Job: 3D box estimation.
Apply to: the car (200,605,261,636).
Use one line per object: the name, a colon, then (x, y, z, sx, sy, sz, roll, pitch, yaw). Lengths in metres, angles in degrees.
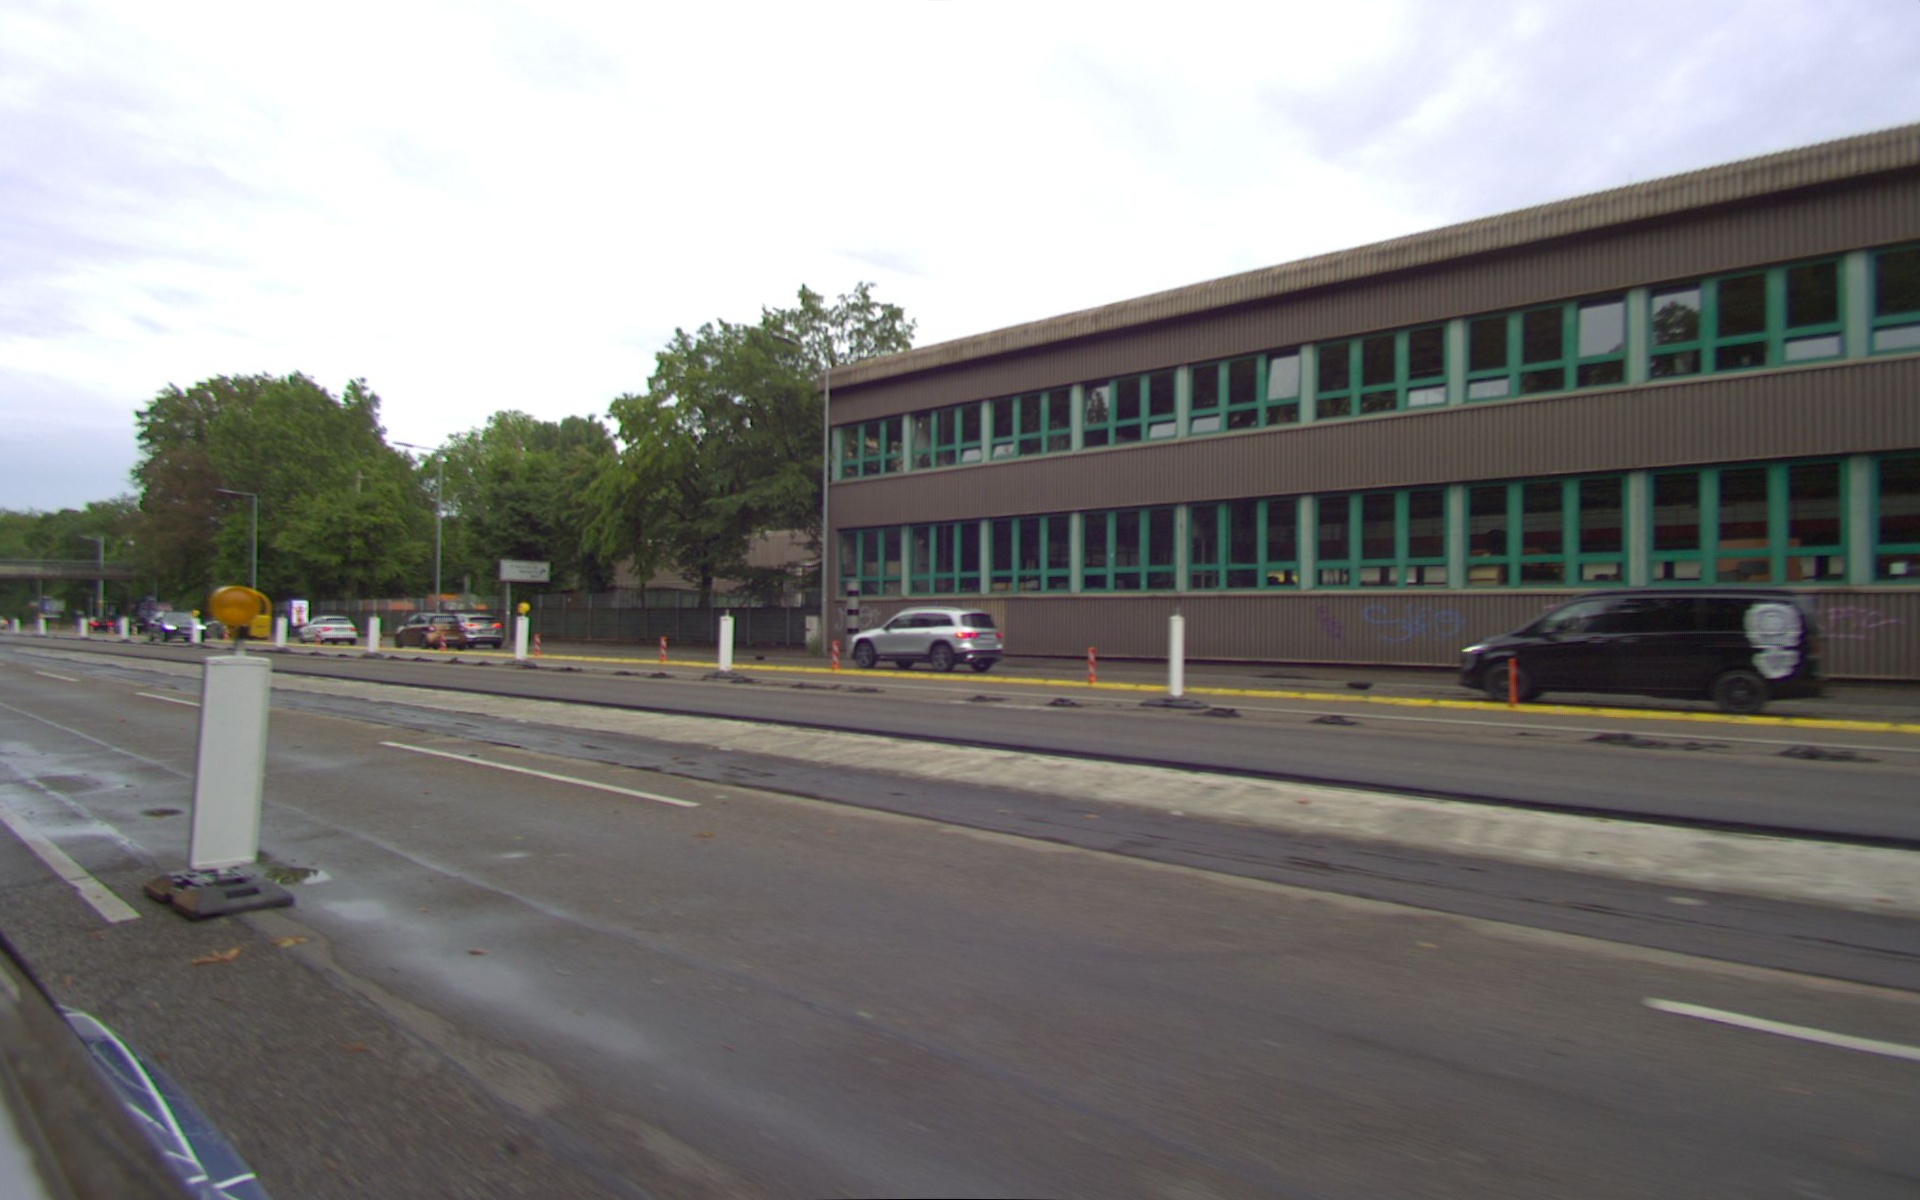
car: (-43.517, 1.207, 60.345, 4.673, 1.781, 1.968, -1, -1, 42)

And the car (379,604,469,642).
car: (-22.142, 0.930, 41.735, 4.514, 1.513, 1.874, -1, -1, 42)

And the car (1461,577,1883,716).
car: (11.358, 0.677, 16.551, 5.358, 1.933, 1.974, -1, -1, 39)

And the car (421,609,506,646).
car: (-22.467, 1.231, 45.742, 4.176, 1.598, 1.973, -1, -1, 40)

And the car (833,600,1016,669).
car: (-1.042, 0.894, 27.418, 4.930, 1.719, 1.919, -1, -1, 39)

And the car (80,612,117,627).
car: (-82.546, 1.885, 96.977, 4.260, 1.440, 1.974, -2, -1, 39)

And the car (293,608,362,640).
car: (-31.538, 1.171, 50.442, 3.988, 1.546, 1.785, -1, -1, 40)
